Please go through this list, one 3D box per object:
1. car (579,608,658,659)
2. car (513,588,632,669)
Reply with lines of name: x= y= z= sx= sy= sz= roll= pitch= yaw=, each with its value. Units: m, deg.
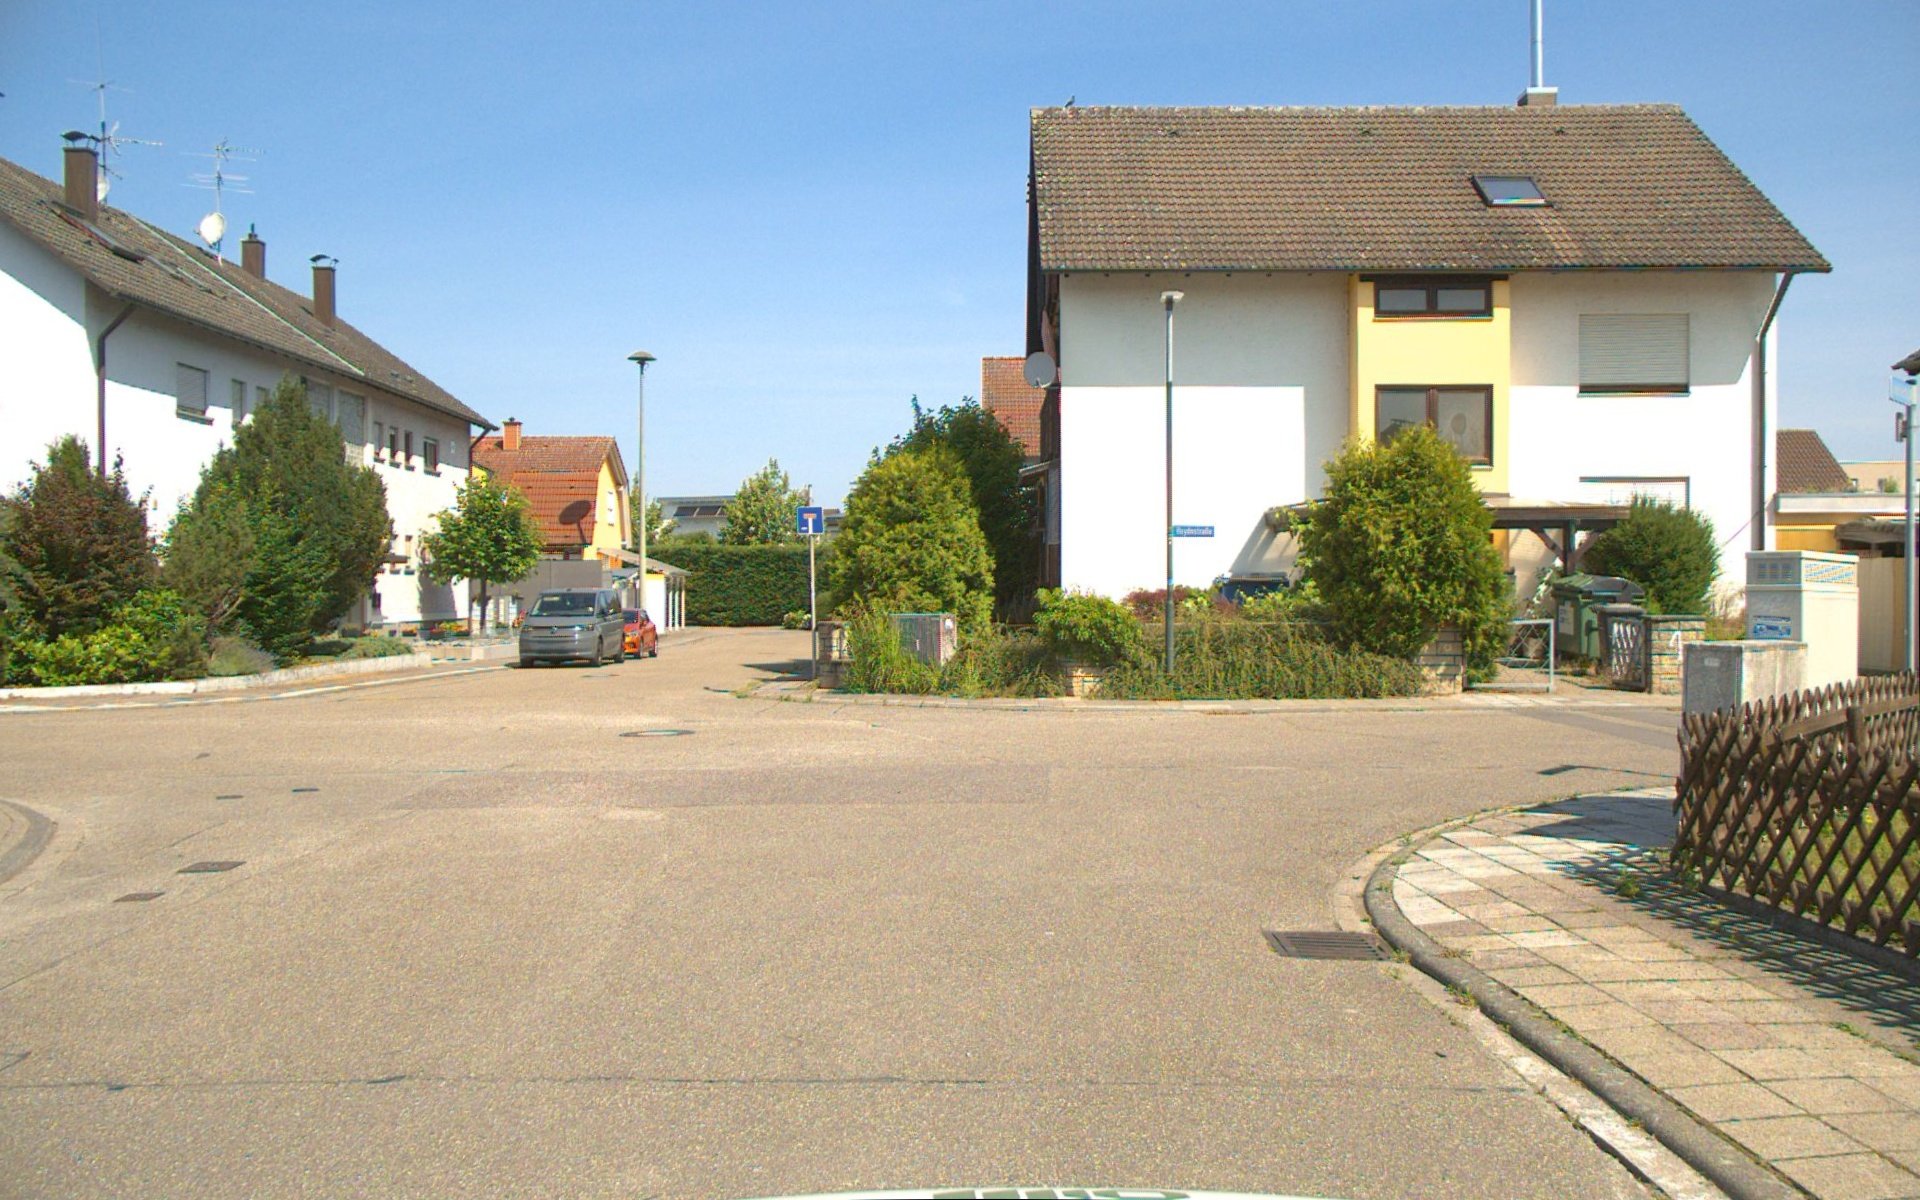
car: x=-9.804 y=0.931 z=47.683 sx=1.618 sy=1.388 sz=3.777 roll=0 pitch=0 yaw=-2
car: x=-9.547 y=0.658 z=41.045 sx=1.862 sy=1.902 sz=4.372 roll=0 pitch=0 yaw=1
